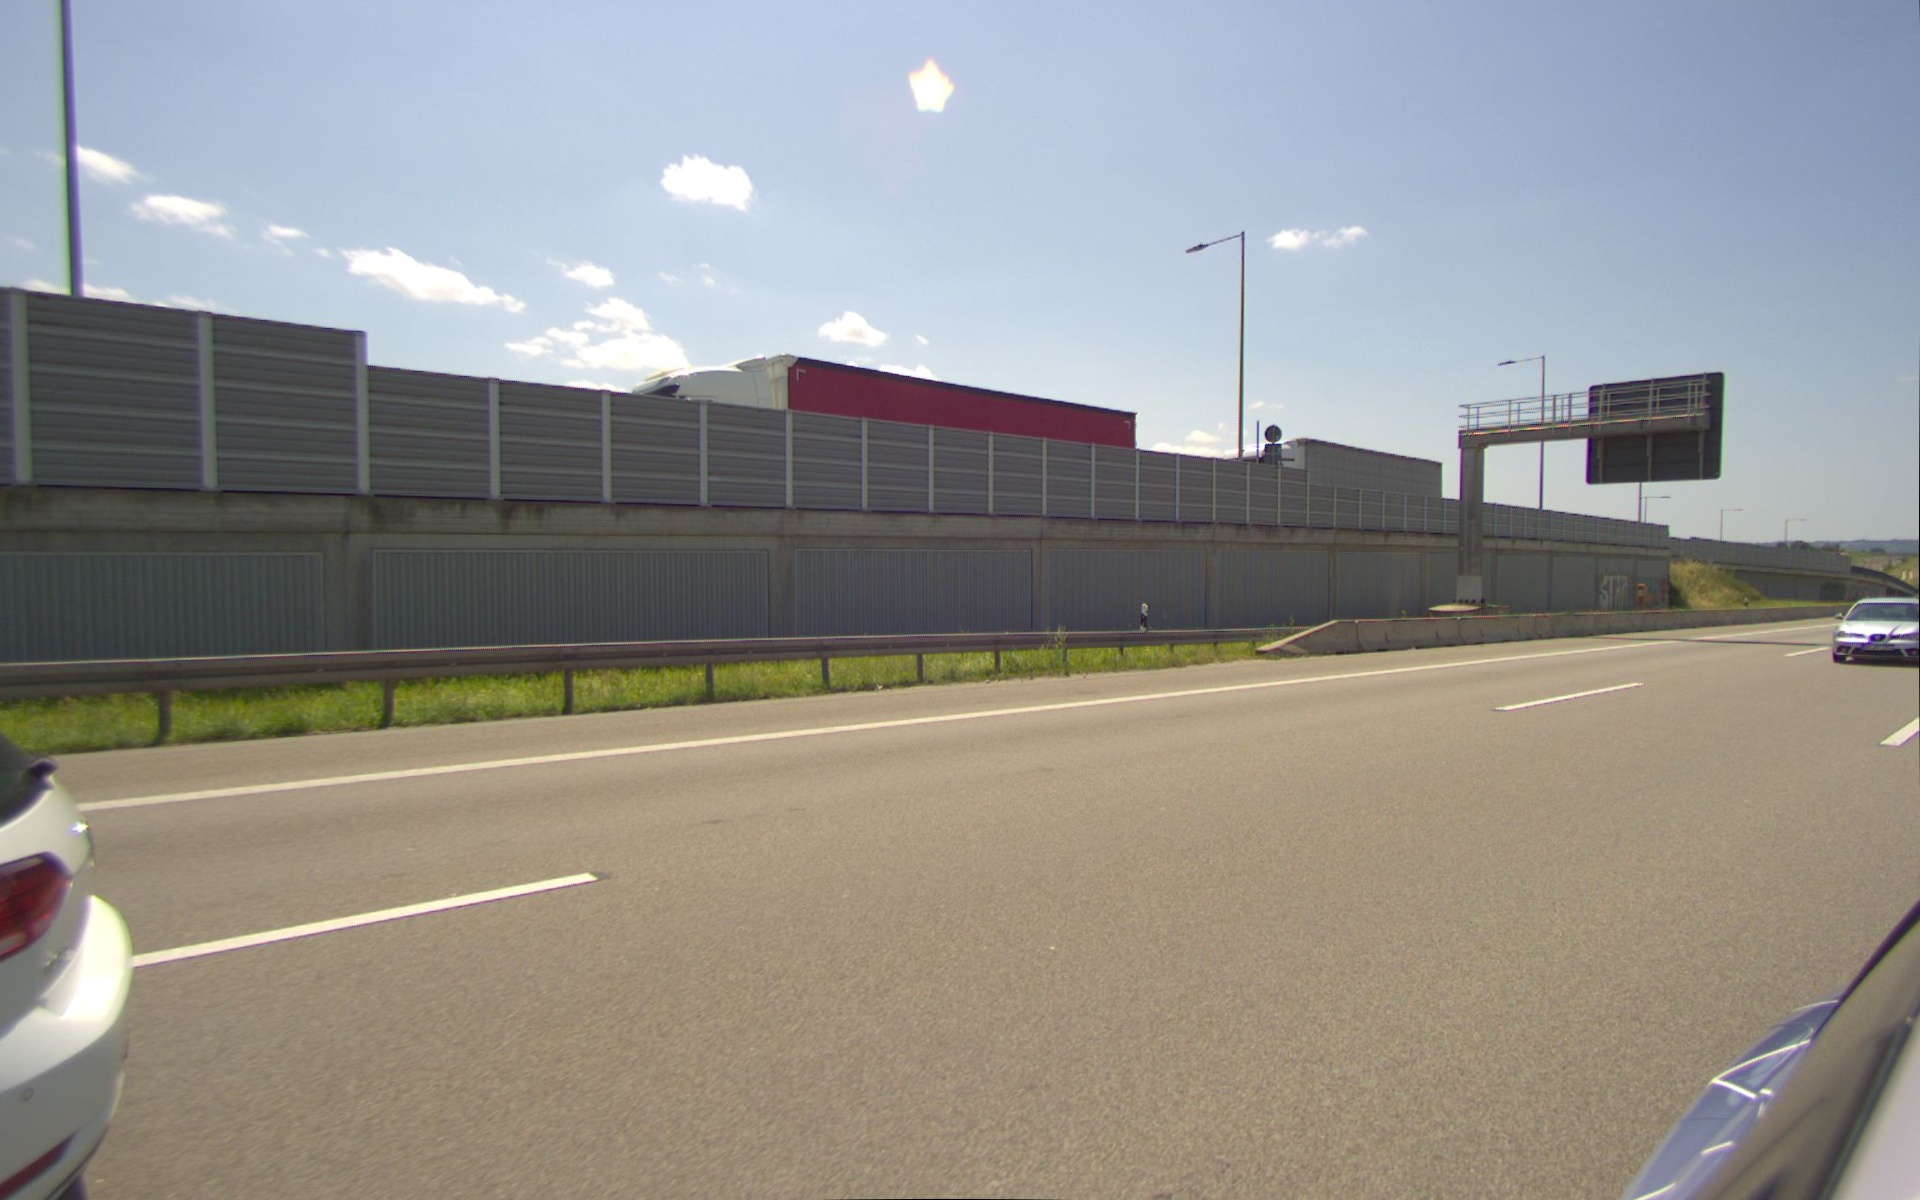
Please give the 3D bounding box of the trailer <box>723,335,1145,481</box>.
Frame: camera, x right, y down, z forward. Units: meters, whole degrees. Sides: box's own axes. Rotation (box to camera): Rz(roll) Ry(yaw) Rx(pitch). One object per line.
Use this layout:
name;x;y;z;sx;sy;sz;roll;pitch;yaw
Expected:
trailer;0.018;-5.112;29.106;13.784;2.252;2.722;-1;1;-43

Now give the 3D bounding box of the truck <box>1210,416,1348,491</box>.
truck;12.942;-5.788;40.837;5.934;2.258;2.727;-1;1;-42

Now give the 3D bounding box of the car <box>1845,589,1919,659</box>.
car;21.004;0.479;22.438;3.932;1.407;1.632;-1;1;-42

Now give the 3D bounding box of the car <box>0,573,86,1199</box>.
car;-3.769;0.719;0.818;4.610;1.451;1.779;-1;1;-41

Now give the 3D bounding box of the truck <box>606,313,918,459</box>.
truck;-4.637;-4.998;24.803;7.164;2.232;2.711;-1;1;-43

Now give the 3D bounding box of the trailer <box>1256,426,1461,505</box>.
trailer;18.496;-5.893;45.979;14.283;2.252;2.722;-1;1;-43
